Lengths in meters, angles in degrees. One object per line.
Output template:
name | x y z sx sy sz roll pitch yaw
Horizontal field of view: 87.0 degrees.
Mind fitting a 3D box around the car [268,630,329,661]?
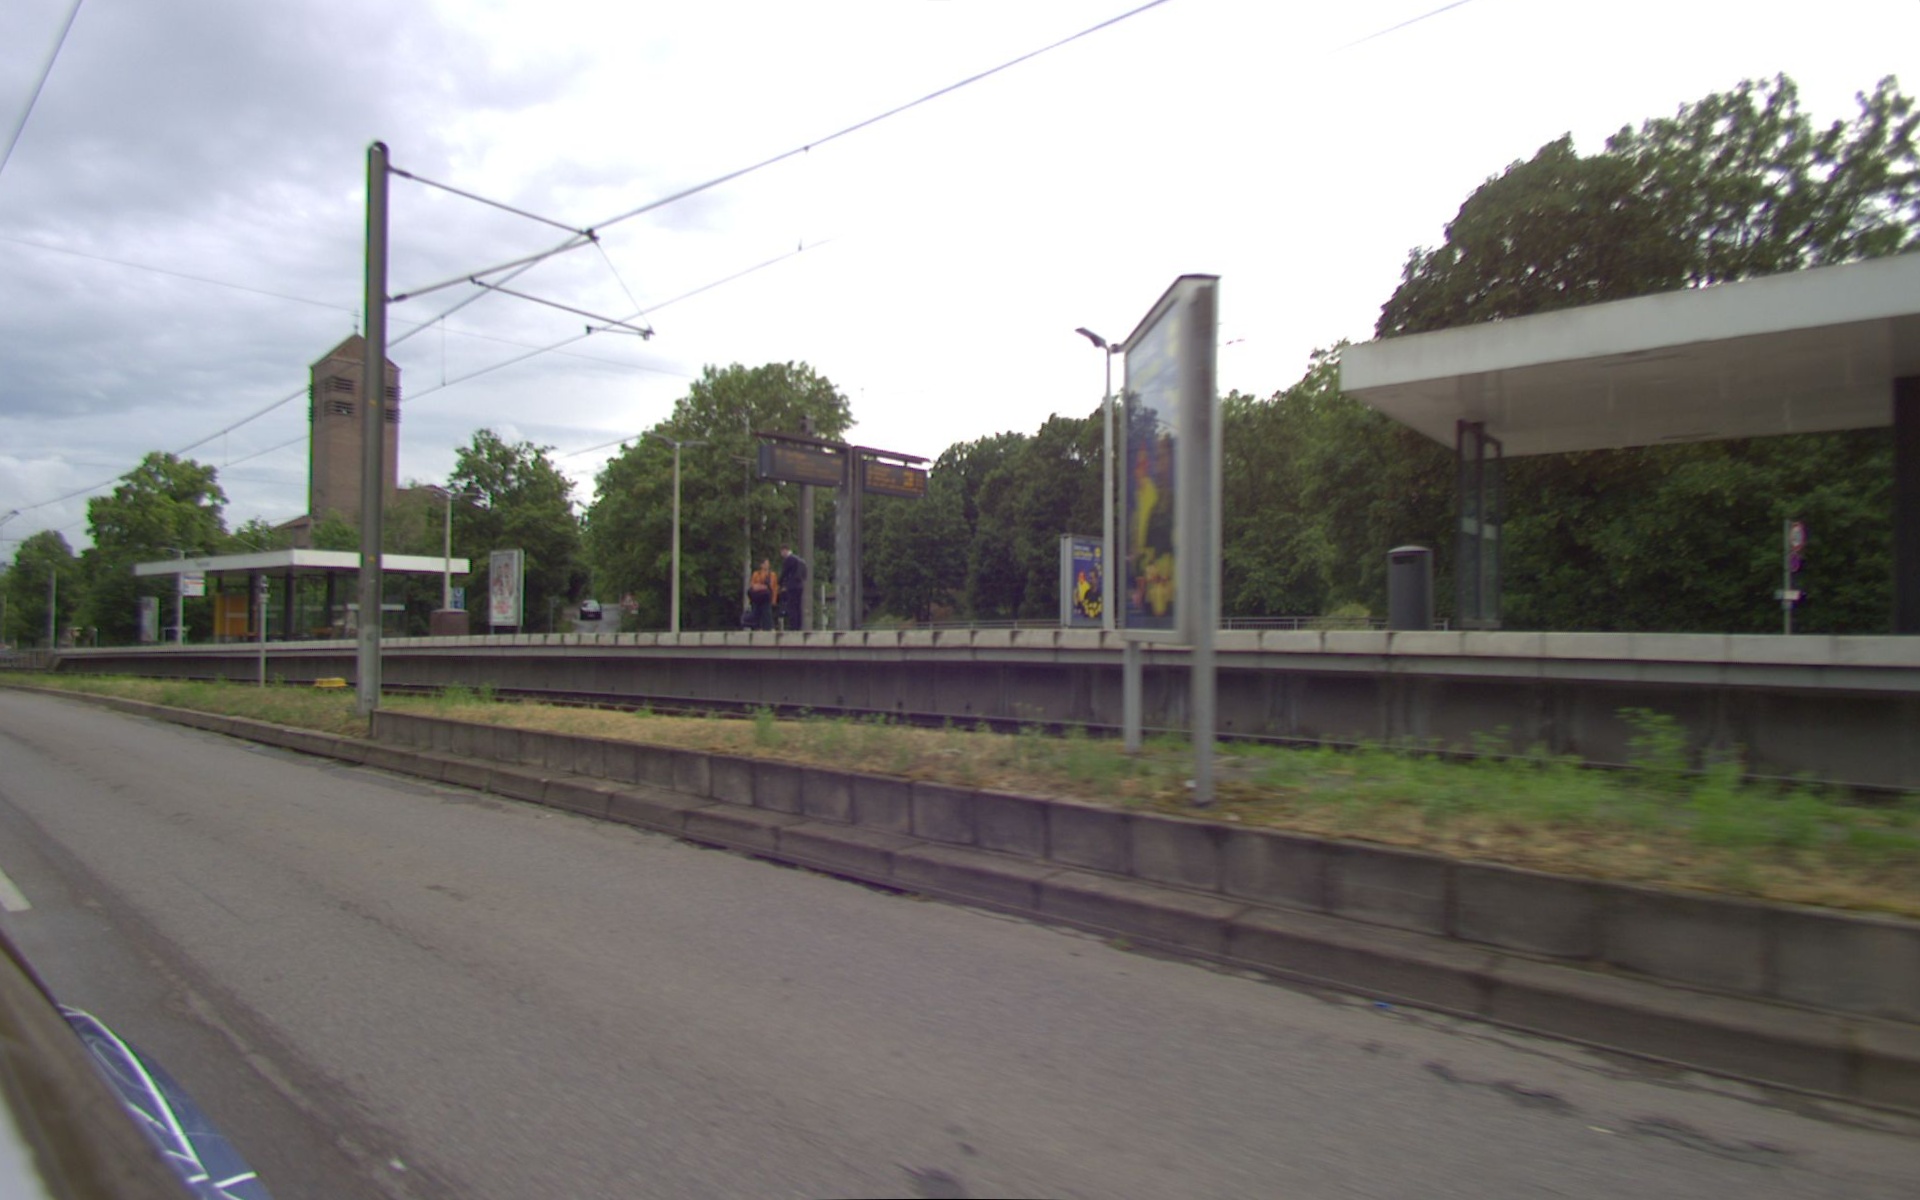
car | -42.090 2.893 64.322 4.512 1.890 1.974 -3 -3 39

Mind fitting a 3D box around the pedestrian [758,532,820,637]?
pedestrian | -3.257 -0.287 19.321 0.835 1.924 0.741 -4 -2 19

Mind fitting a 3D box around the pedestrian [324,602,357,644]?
pedestrian | -18.687 0.691 30.532 0.619 1.235 0.703 -3 -2 39

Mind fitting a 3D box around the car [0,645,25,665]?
car | -81.604 4.707 86.253 4.508 1.636 1.976 -3 -2 36

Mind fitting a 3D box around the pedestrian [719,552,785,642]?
pedestrian | -4.052 -0.046 19.755 0.911 1.659 0.792 -4 -2 19

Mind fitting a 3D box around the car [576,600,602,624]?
car | -31.728 1.000 86.593 1.965 2.029 4.013 -1 0 -20
